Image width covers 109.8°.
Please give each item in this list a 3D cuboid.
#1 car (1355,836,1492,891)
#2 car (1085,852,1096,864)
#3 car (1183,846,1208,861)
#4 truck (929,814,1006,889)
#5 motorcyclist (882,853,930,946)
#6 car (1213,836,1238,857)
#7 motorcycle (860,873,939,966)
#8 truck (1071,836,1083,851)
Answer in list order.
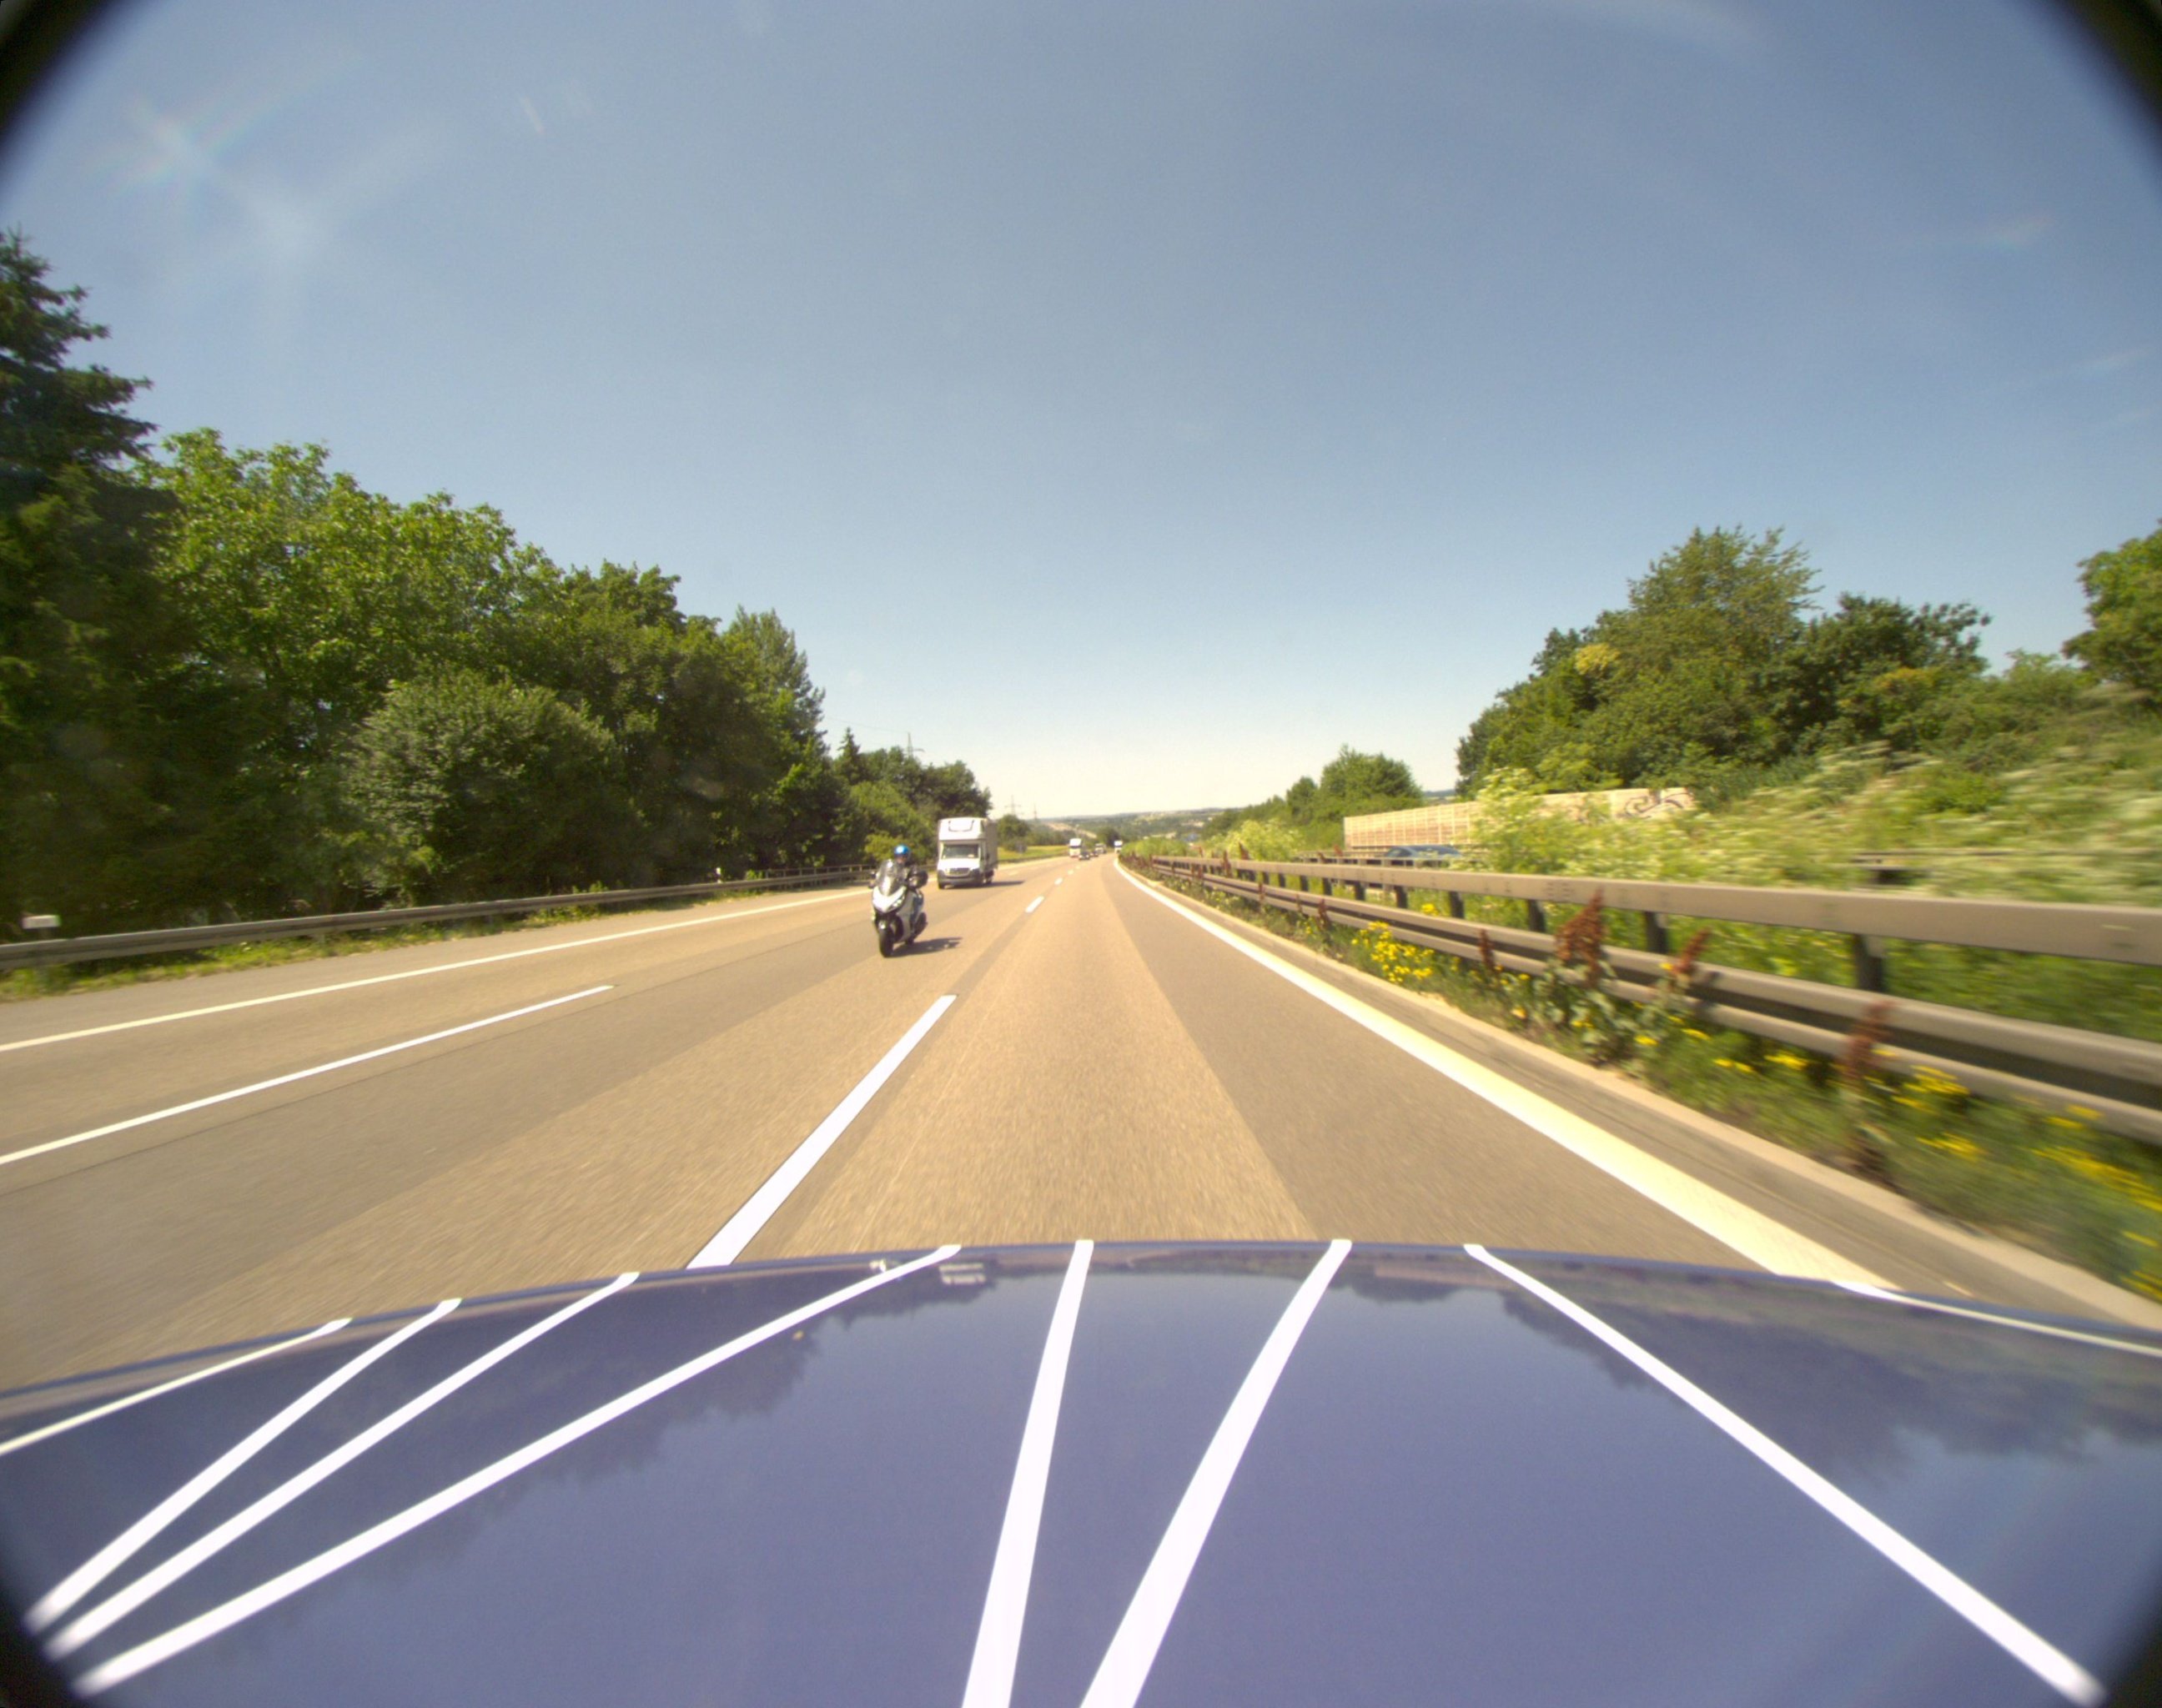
[{"bbox_3d":[9.816,0.231,22.239,1.864,1.345,4.667,-3,1,0],"label":"car"},{"bbox_3d":[1.669,0.696,128.946,1.705,1.958,4.000,-2,1,1],"label":"car"},{"bbox_3d":[11.481,-0.088,76.364,1.840,1.419,4.489,-2,1,1],"label":"car"},{"bbox_3d":[-5.479,-0.166,38.036,2.513,3.268,8.105,-2,1,0],"label":"truck"},{"bbox_3d":[-2.919,0.746,12.703,0.613,1.499,0.513,-2,1,1],"label":"motorcyclist"},{"bbox_3d":[14.729,-0.800,77.552,1.854,2.002,4.000,-2,1,2],"label":"car"},{"bbox_3d":[-2.924,1.007,12.495,0.631,1.279,2.312,-3,1,1],"label":"motorcycle"},{"bbox_3d":[-0.944,-2.480,177.419,2.591,3.444,5.962,-2,1,0],"label":"truck"}]
